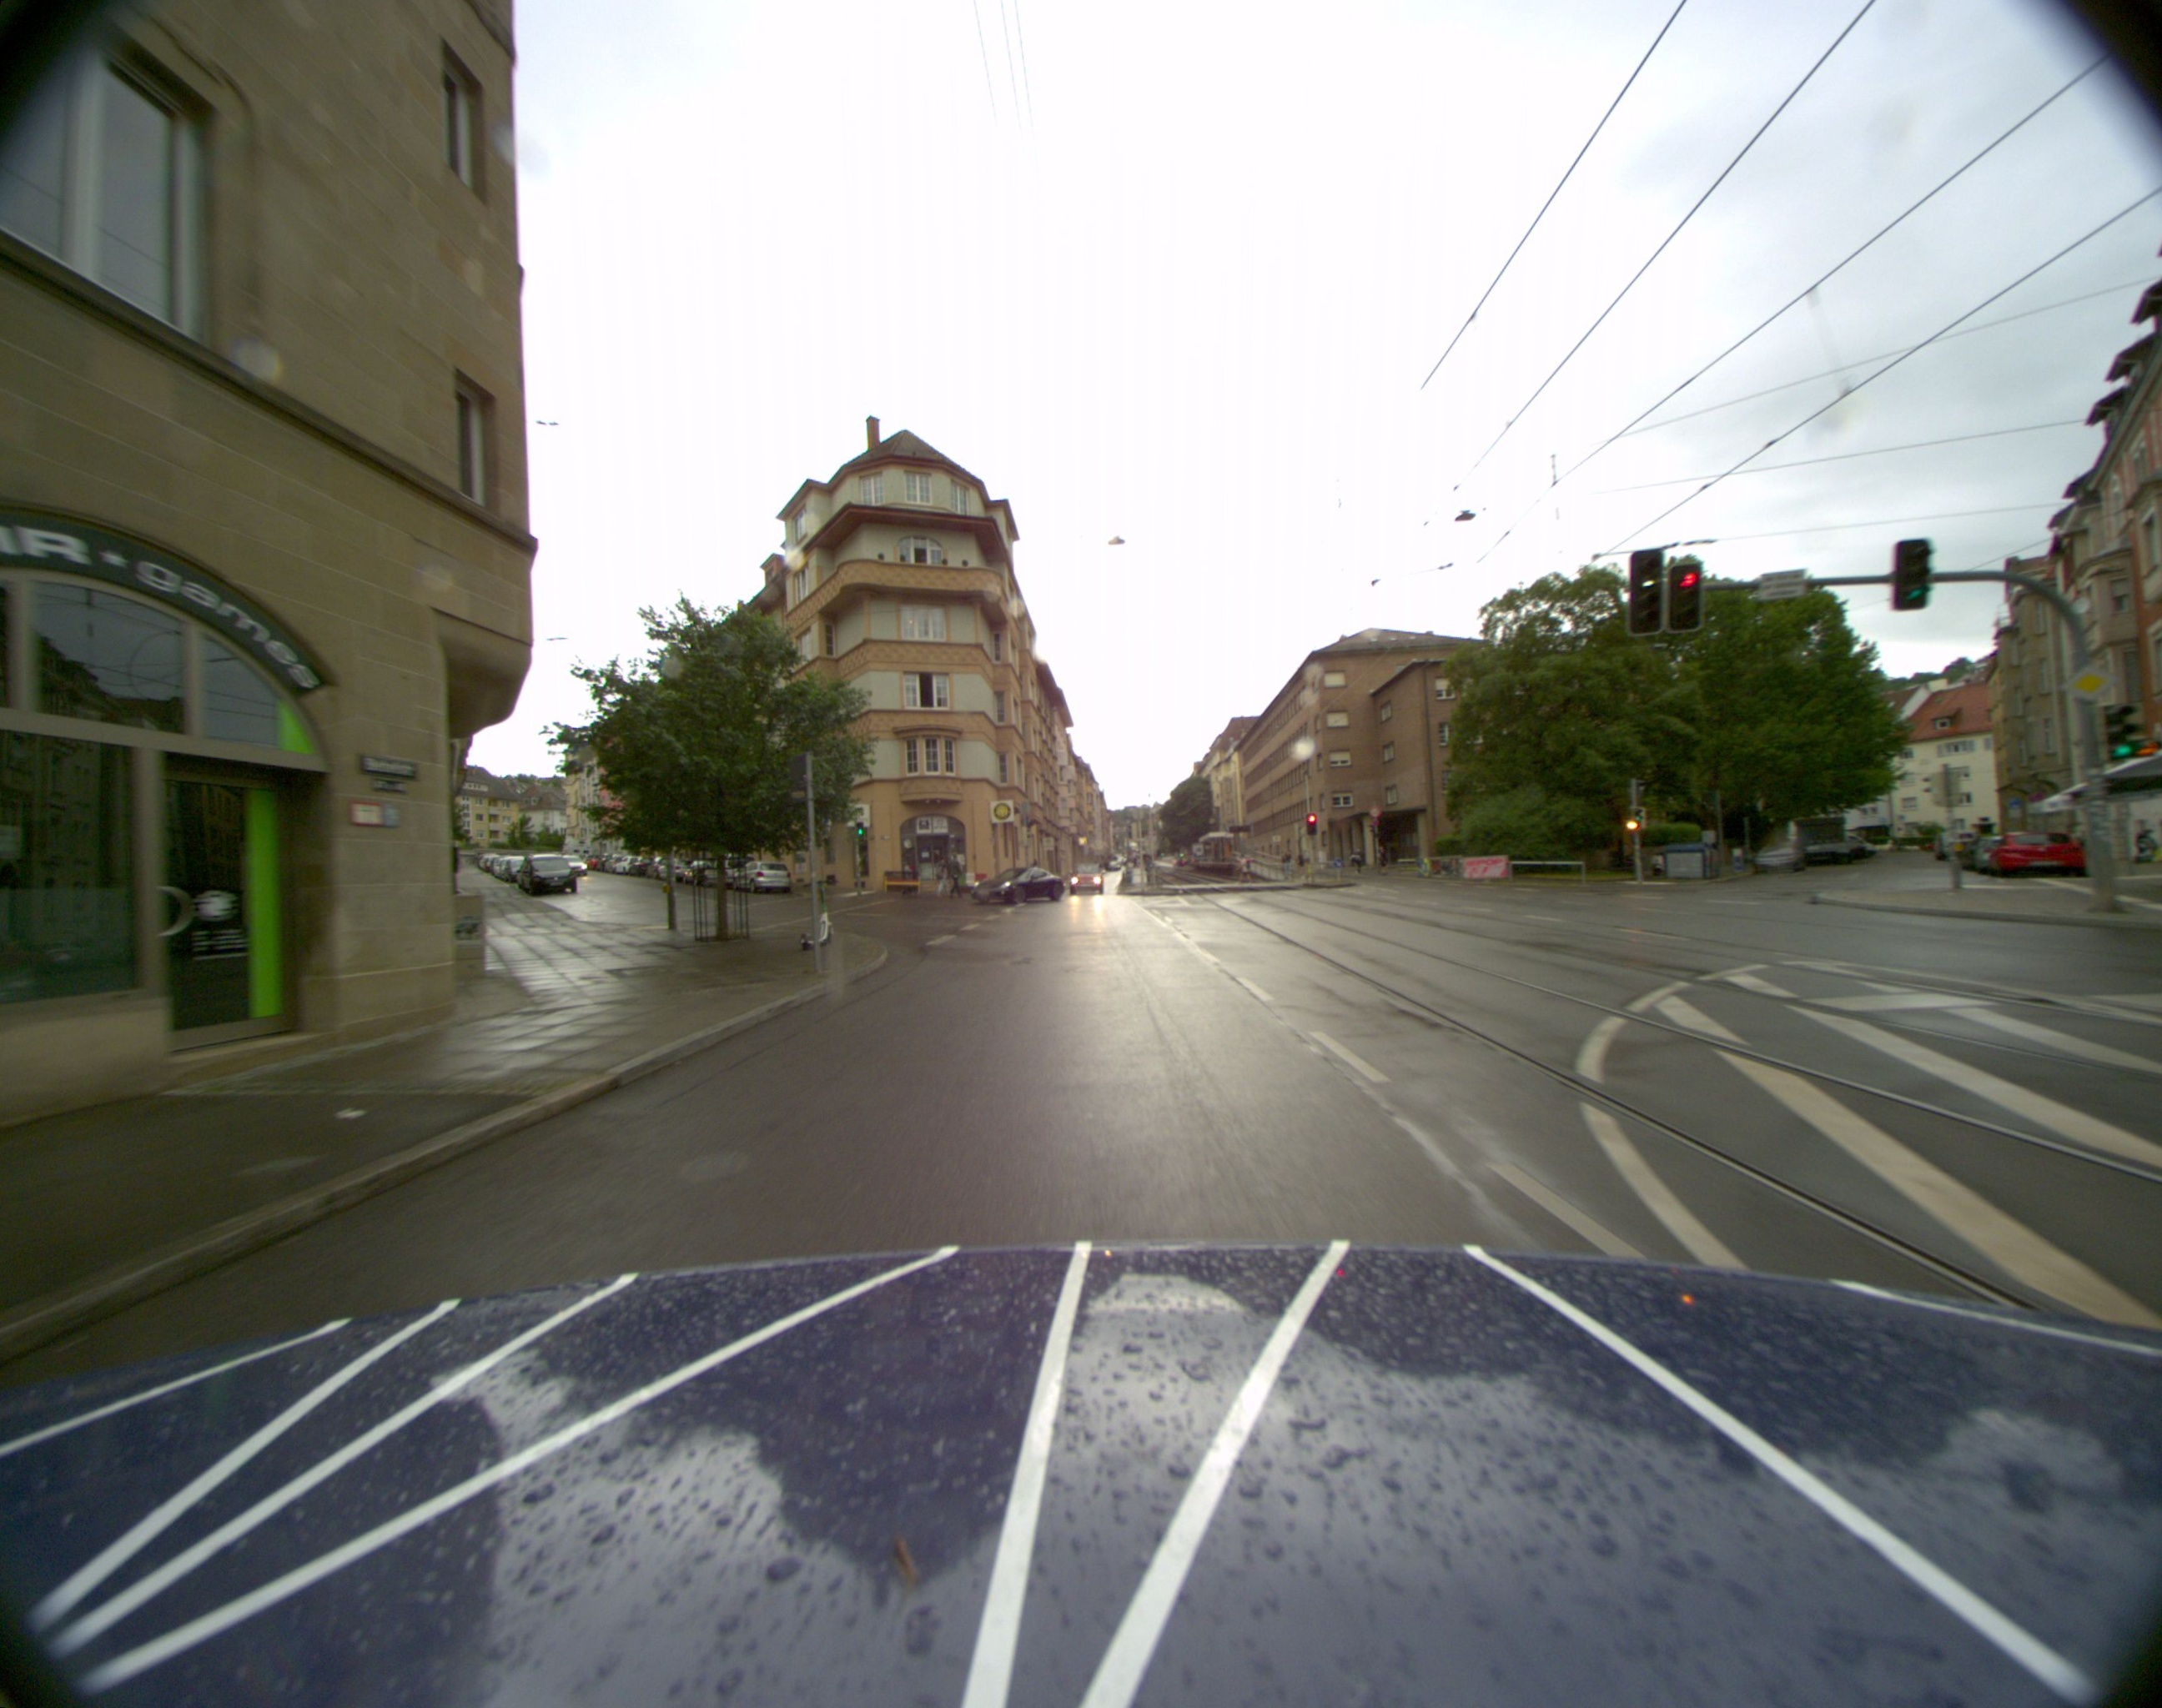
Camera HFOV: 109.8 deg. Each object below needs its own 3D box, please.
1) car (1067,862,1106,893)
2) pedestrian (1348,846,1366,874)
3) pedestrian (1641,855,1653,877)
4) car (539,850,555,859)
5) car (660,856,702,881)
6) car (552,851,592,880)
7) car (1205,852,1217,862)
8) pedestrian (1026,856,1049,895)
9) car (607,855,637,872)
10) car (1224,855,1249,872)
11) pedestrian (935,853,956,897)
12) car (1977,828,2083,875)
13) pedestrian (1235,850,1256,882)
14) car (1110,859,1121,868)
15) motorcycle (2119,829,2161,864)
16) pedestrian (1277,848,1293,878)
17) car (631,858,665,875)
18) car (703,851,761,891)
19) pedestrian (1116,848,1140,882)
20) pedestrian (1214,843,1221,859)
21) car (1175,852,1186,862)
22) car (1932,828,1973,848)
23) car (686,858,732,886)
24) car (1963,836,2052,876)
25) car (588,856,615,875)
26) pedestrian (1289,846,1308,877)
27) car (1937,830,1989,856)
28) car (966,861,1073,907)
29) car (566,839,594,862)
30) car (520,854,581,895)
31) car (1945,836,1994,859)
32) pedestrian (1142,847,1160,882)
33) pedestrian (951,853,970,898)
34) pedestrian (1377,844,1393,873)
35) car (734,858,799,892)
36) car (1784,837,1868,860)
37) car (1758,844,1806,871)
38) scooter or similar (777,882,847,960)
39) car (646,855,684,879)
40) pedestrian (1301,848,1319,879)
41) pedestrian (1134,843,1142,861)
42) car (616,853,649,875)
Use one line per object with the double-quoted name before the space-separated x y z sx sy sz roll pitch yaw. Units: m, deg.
"car" 0.322 1.146 37.818 1.689 1.451 3.300 -1 0 4
"pedestrian" 16.460 0.352 45.338 0.767 1.640 0.649 -2 0 3
"pedestrian" 27.941 0.574 37.489 0.417 1.078 0.283 -1 0 28
"car" -70.734 0.075 100.610 1.450 1.165 3.275 -1 0 -41
"car" -24.225 0.858 46.000 1.449 1.417 3.290 -5 3 -41
"car" -36.462 0.814 54.367 1.749 1.862 3.989 -7 4 -40
"car" 20.307 0.423 118.819 1.648 1.457 3.112 -3 0 5
"pedestrian" -2.078 1.012 36.253 0.967 1.830 0.903 1 0 4
"car" -36.831 0.760 60.954 1.449 1.166 3.275 -5 3 -41
"car" 16.476 0.986 80.793 1.998 1.618 5.253 0 1 4
"pedestrian" -5.468 0.836 30.720 0.684 1.778 0.902 -1 1 0
"car" 30.696 -0.089 24.691 4.008 1.395 1.737 -1 0 -44
"pedestrian" 8.434 0.615 38.956 0.693 1.573 0.958 -2 0 33
"car" 6.084 1.607 133.001 1.632 1.443 4.002 -3 0 5
"motorcycle" 38.750 -0.266 27.768 1.863 1.248 0.747 -1 0 -43
"pedestrian" 11.766 0.510 43.893 0.666 1.689 0.688 -3 1 1
"car" -30.704 0.863 53.855 1.449 1.119 3.069 -5 3 -41
"car" -17.601 0.822 38.245 1.608 1.834 3.545 -5 3 -41
"pedestrian" 2.822 0.648 45.308 0.949 2.002 0.926 -3 0 -40
"pedestrian" 14.816 -0.322 82.540 0.588 1.699 0.491 -1 0 3
"car" 19.051 0.548 145.602 1.998 2.002 4.001 -1 0 4
"car" 64.077 -1.188 55.895 4.008 1.395 1.737 -1 0 -44
"car" -20.327 0.941 41.477 1.449 1.417 3.290 -2 1 -41
"car" 34.479 0.061 28.374 4.176 1.395 1.737 -1 0 -44
"car" -43.721 1.038 69.255 1.449 1.565 3.275 -5 3 -41
"pedestrian" 12.570 0.427 43.928 0.745 1.686 0.883 -4 1 2
"car" 59.999 -0.746 51.727 1.994 1.621 4.008 -1 0 45
"car" -2.217 1.058 28.395 1.700 1.280 4.203 6 5 33
"car" -53.177 -0.354 80.699 1.954 2.443 3.802 -1 0 -41
"car" -25.201 0.909 36.029 1.749 1.716 4.344 -6 4 -41
"car" 55.627 -0.415 47.619 4.008 1.395 1.737 -1 0 -44
"pedestrian" 4.165 0.613 45.223 0.899 2.002 0.947 -3 0 4
"pedestrian" -4.834 0.848 30.489 0.595 1.778 0.891 -1 1 0
"pedestrian" 17.543 0.253 43.835 0.605 1.665 0.689 -1 0 1
"car" -14.392 0.938 34.712 1.695 1.451 3.525 1 -1 -41
"car" 51.076 -0.364 52.153 1.746 1.469 3.989 -1 0 -42
"car" 38.397 0.156 41.599 4.008 1.395 1.737 -1 0 -44
"scooter or similar" -4.630 1.123 13.174 0.639 1.203 1.552 -1 0 -1
"car" -27.119 0.830 49.481 1.449 1.417 3.290 -5 3 -41
"pedestrian" 12.512 0.505 41.482 0.745 1.638 0.641 -3 2 4
"pedestrian" 5.606 -0.201 74.989 0.645 1.764 0.711 -3 0 4
"car" -33.992 0.760 57.591 1.449 1.565 3.275 -5 3 -41
